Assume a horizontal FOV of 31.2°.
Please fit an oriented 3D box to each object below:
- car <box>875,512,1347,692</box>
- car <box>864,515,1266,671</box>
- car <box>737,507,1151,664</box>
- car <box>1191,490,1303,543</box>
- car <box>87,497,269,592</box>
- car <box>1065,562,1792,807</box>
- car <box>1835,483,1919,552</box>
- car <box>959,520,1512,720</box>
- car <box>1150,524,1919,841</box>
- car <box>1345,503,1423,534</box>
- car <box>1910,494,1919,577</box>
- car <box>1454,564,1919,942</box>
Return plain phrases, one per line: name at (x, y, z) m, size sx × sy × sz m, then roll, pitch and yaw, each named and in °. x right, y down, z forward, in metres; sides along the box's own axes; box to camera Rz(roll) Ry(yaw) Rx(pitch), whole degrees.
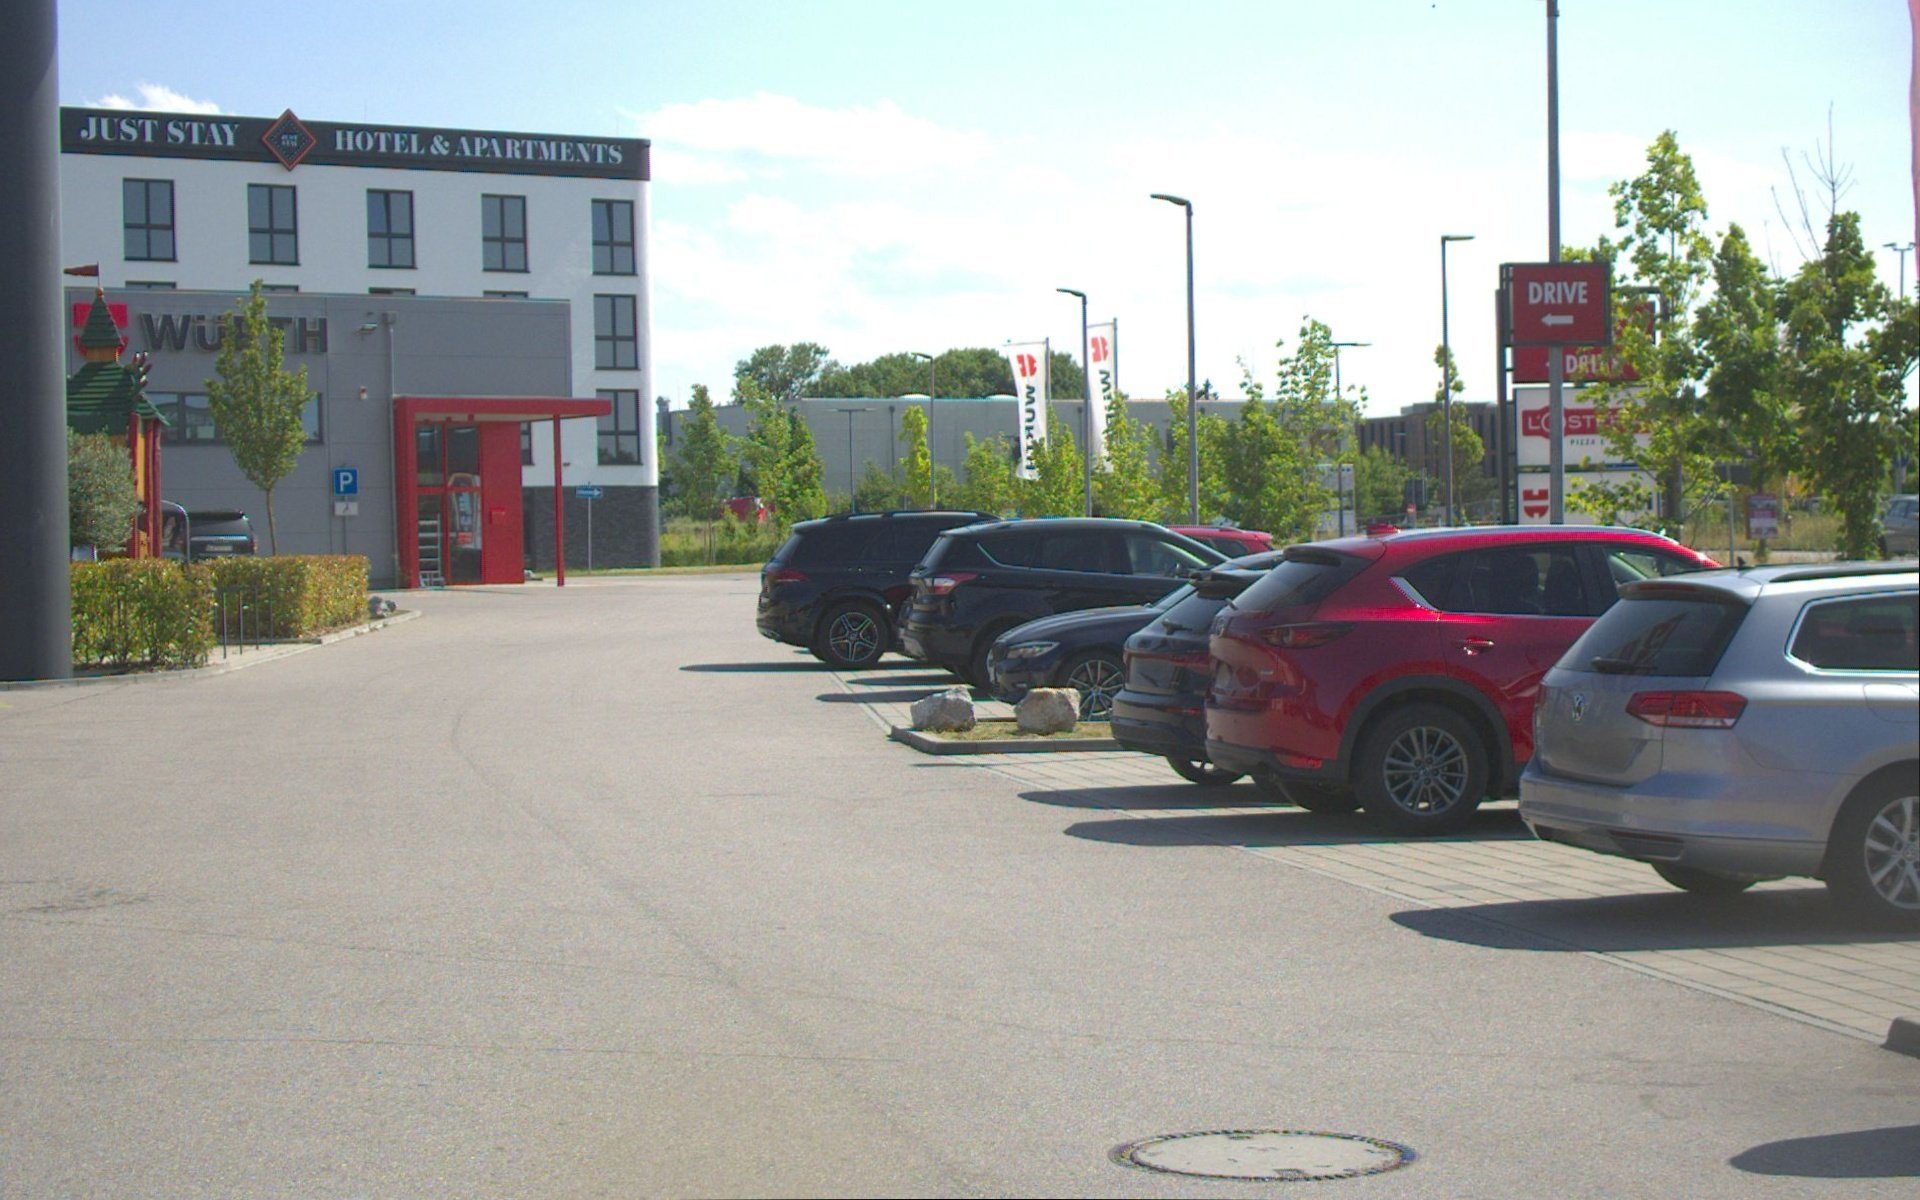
car at (1.465, -0.009, 33.976) m, size 4.317 × 1.697 × 1.896 m, roll 0°, pitch 1°, yaw -13°
car at (1.095, -0.102, 37.086) m, size 4.067 × 1.603 × 1.896 m, roll 0°, pitch 2°, yaw -8°
car at (-0.225, -0.194, 39.740) m, size 4.574 × 1.754 × 1.896 m, roll 0°, pitch 1°, yaw -7°
car at (9.683, -2.834, 116.207) m, size 1.993 × 1.727 × 4.761 m, roll -1°, pitch 2°, yaw -19°
car at (-16.264, -1.185, 71.350) m, size 2.071 × 1.874 × 4.879 m, roll -2°, pitch 2°, yaw -33°
car at (2.930, 0.487, 21.734) m, size 4.191 × 1.405 × 1.774 m, roll 0°, pitch 1°, yaw -15°
car at (21.764, -1.908, 78.416) m, size 1.993 × 1.499 × 4.658 m, roll -1°, pitch 2°, yaw -6°
car at (2.290, 0.137, 29.309) m, size 4.435 × 1.632 × 1.896 m, roll 0°, pitch 1°, yaw -5°
car at (3.356, 0.396, 19.185) m, size 4.216 × 1.632 × 1.951 m, roll 0°, pitch 1°, yaw -13°
car at (23.541, -4.527, 190.925) m, size 3.946 × 1.652 × 1.907 m, roll -2°, pitch 2°, yaw -32°
car at (18.612, -1.134, 61.345) m, size 1.993 × 1.521 × 4.658 m, roll -1°, pitch 2°, yaw -1°
car at (4.552, 0.562, 14.438) m, size 4.585 × 1.408 × 1.741 m, roll 0°, pitch 1°, yaw -13°
